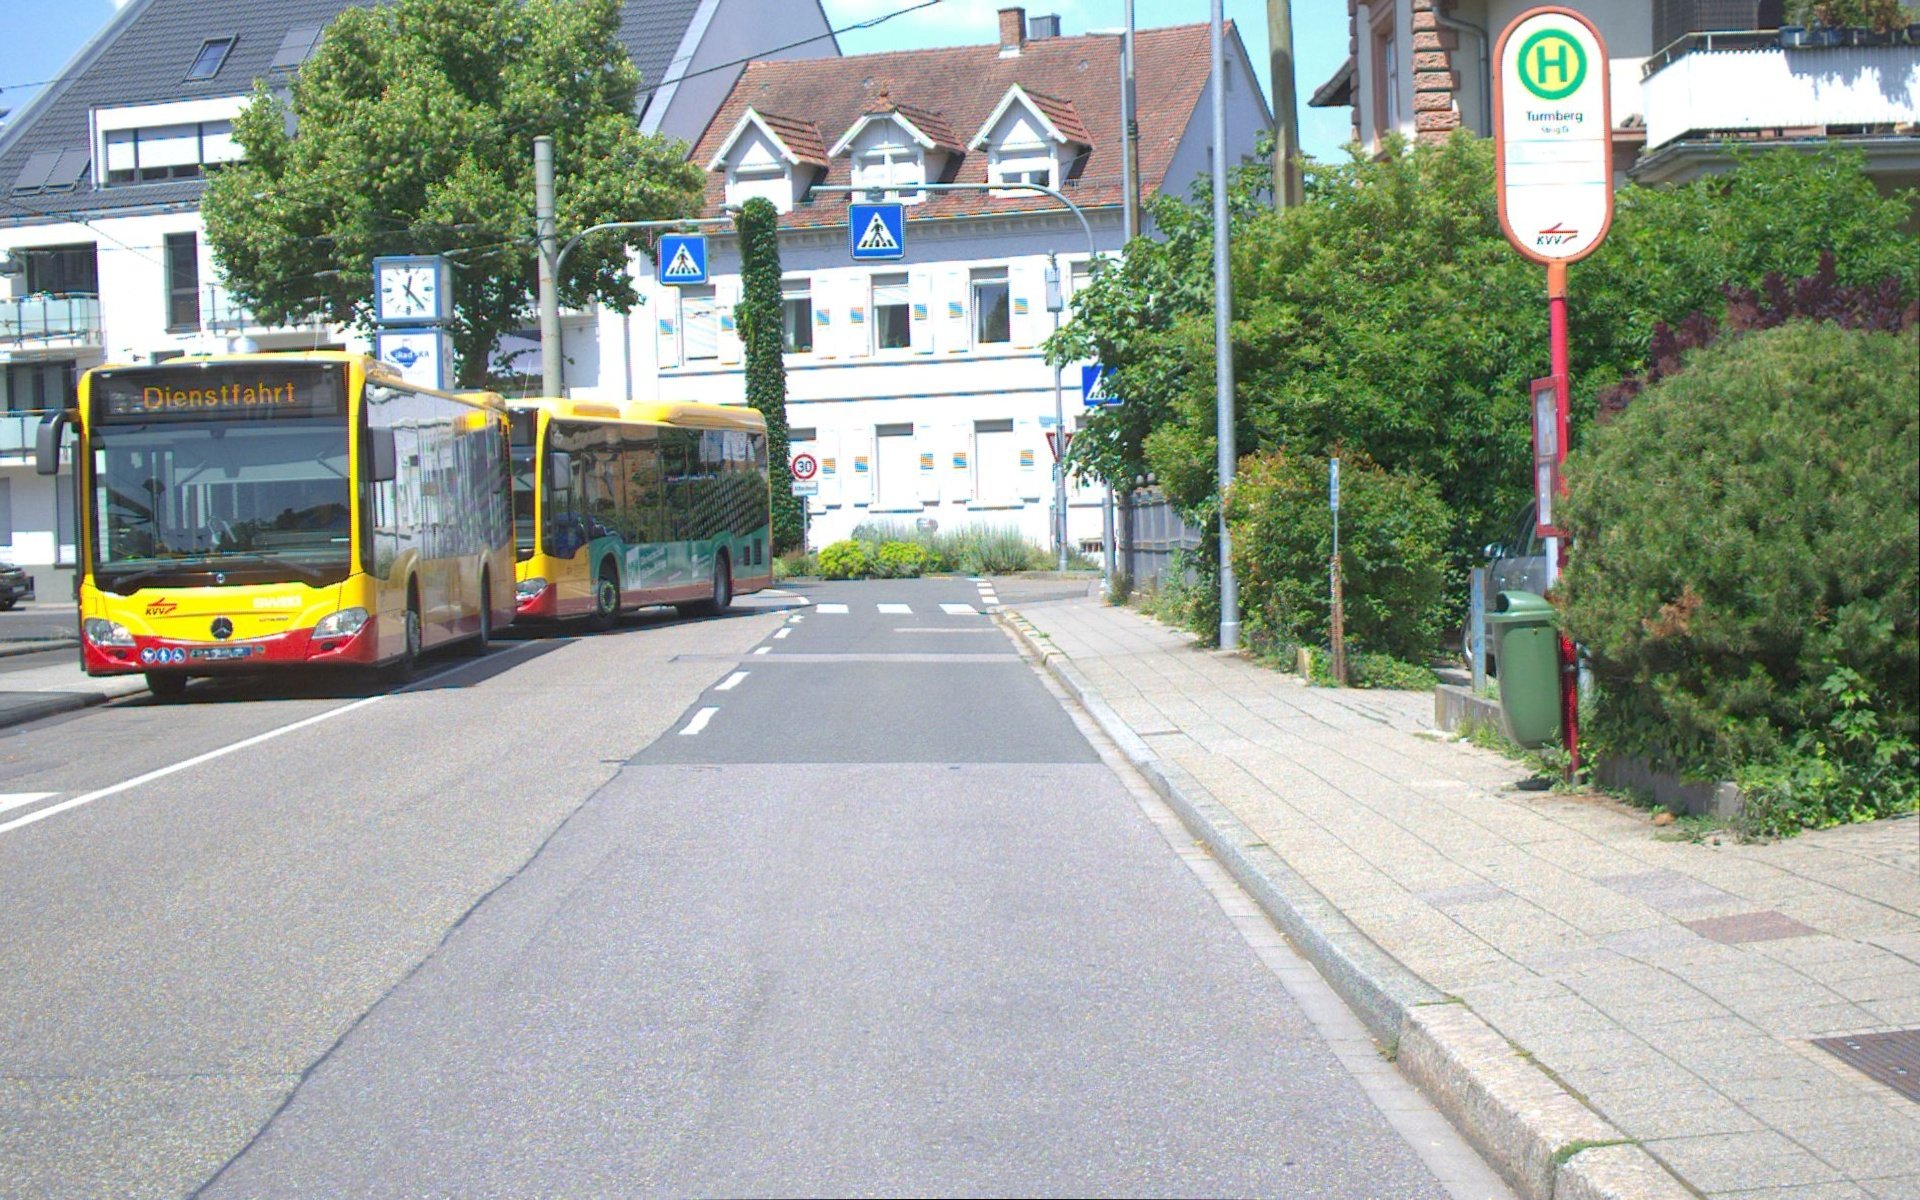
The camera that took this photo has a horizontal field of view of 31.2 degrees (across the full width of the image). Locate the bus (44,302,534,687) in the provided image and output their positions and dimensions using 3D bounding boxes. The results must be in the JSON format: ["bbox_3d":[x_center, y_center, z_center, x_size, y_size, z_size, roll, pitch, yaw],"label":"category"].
[{"bbox_3d":[-6.433,-0.985,35.180,2.907,3.237,12.120,0,1,-1],"label":"bus"}]

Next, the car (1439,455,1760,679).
[{"bbox_3d":[5.264,-0.257,28.801,1.760,1.622,4.000,4,0,-1],"label":"car"}]

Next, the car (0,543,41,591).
[{"bbox_3d":[-25.845,-0.860,89.801,3.207,1.219,1.590,0,0,17],"label":"car"}]

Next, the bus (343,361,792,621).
[{"bbox_3d":[-5.183,-1.570,48.694,2.781,3.197,12.302,1,2,11],"label":"bus"}]

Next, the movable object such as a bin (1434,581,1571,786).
[{"bbox_3d":[2.531,0.383,16.080,0.406,0.904,0.729,-5,0,-4],"label":"movable object such as a bin"}]
